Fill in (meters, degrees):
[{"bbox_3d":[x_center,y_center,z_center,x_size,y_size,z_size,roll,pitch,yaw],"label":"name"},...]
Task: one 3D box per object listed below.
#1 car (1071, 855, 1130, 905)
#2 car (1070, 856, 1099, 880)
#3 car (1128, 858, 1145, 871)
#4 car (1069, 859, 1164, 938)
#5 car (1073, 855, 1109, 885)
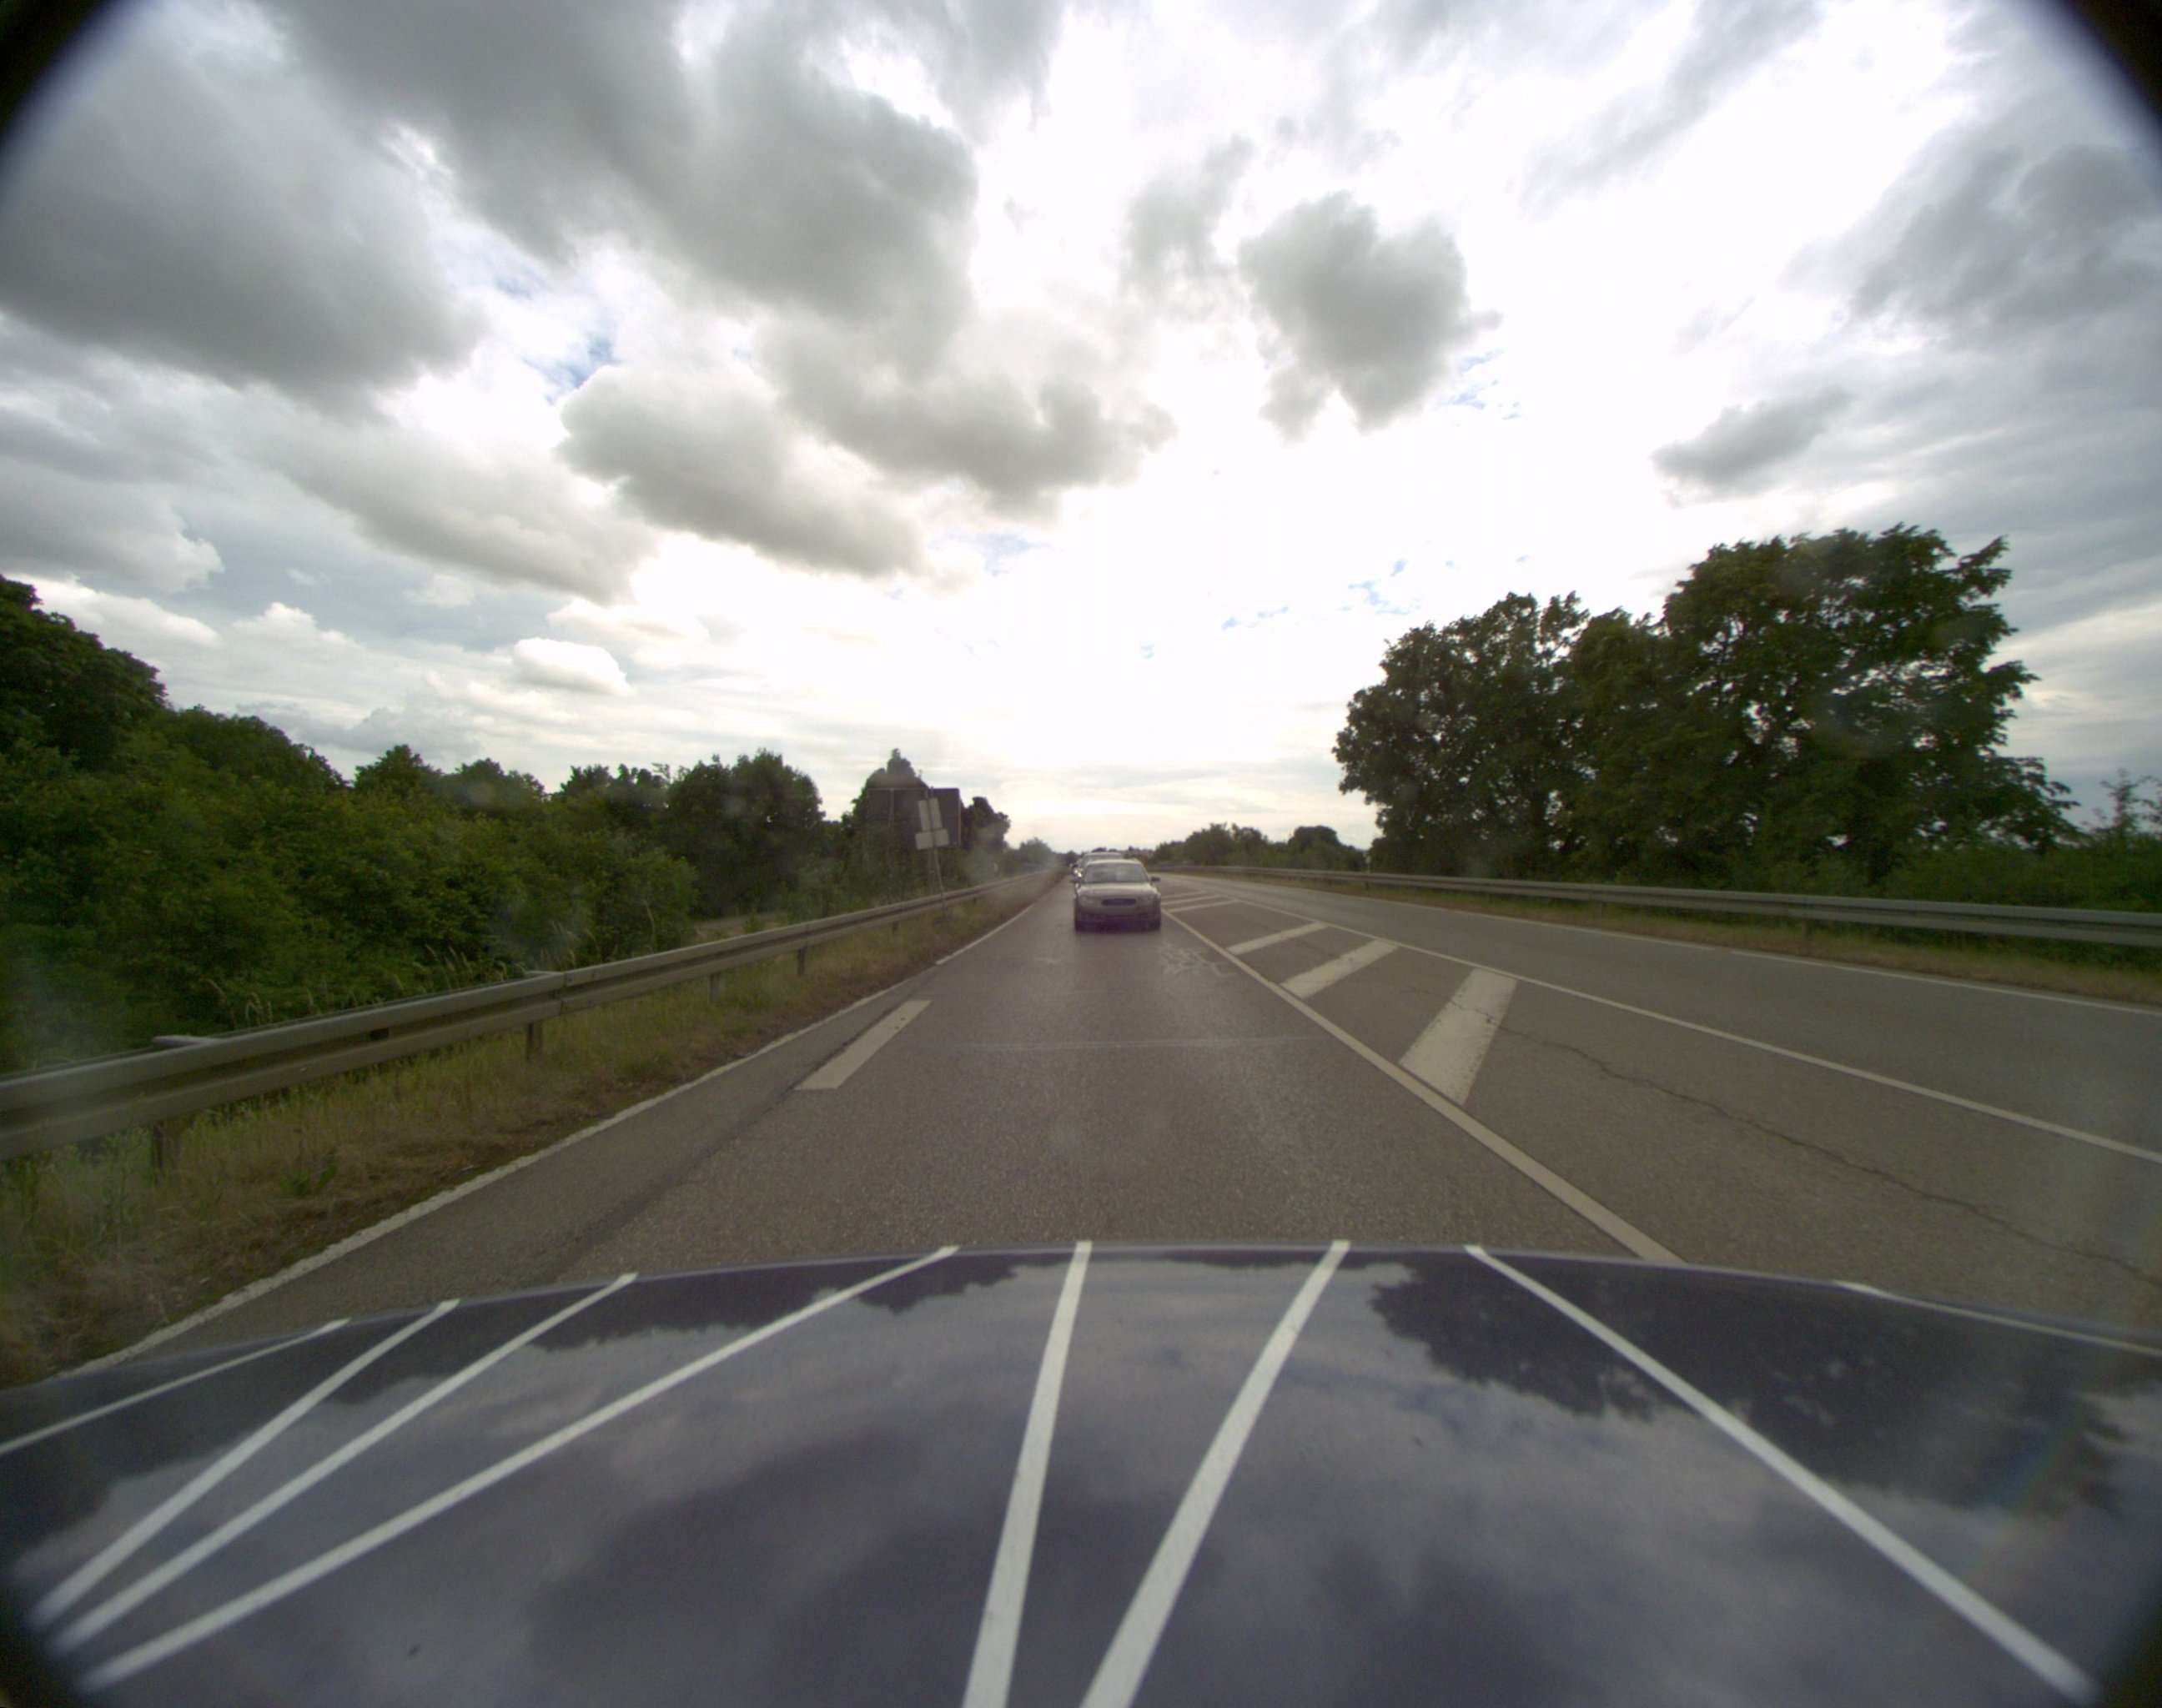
[{"bbox_3d":[0.650,0.823,26.177,1.834,1.538,4.035,-1,0,1],"label":"car"},{"bbox_3d":[0.248,0.924,51.820,1.834,1.538,4.035,-1,0,1],"label":"car"},{"bbox_3d":[6.973,1.331,95.342,1.834,1.538,4.035,-1,0,1],"label":"car"},{"bbox_3d":[0.700,0.864,16.513,1.784,1.442,4.035,-1,0,1],"label":"car"},{"bbox_3d":[0.540,0.858,41.944,1.834,1.538,4.035,-1,0,1],"label":"car"}]
